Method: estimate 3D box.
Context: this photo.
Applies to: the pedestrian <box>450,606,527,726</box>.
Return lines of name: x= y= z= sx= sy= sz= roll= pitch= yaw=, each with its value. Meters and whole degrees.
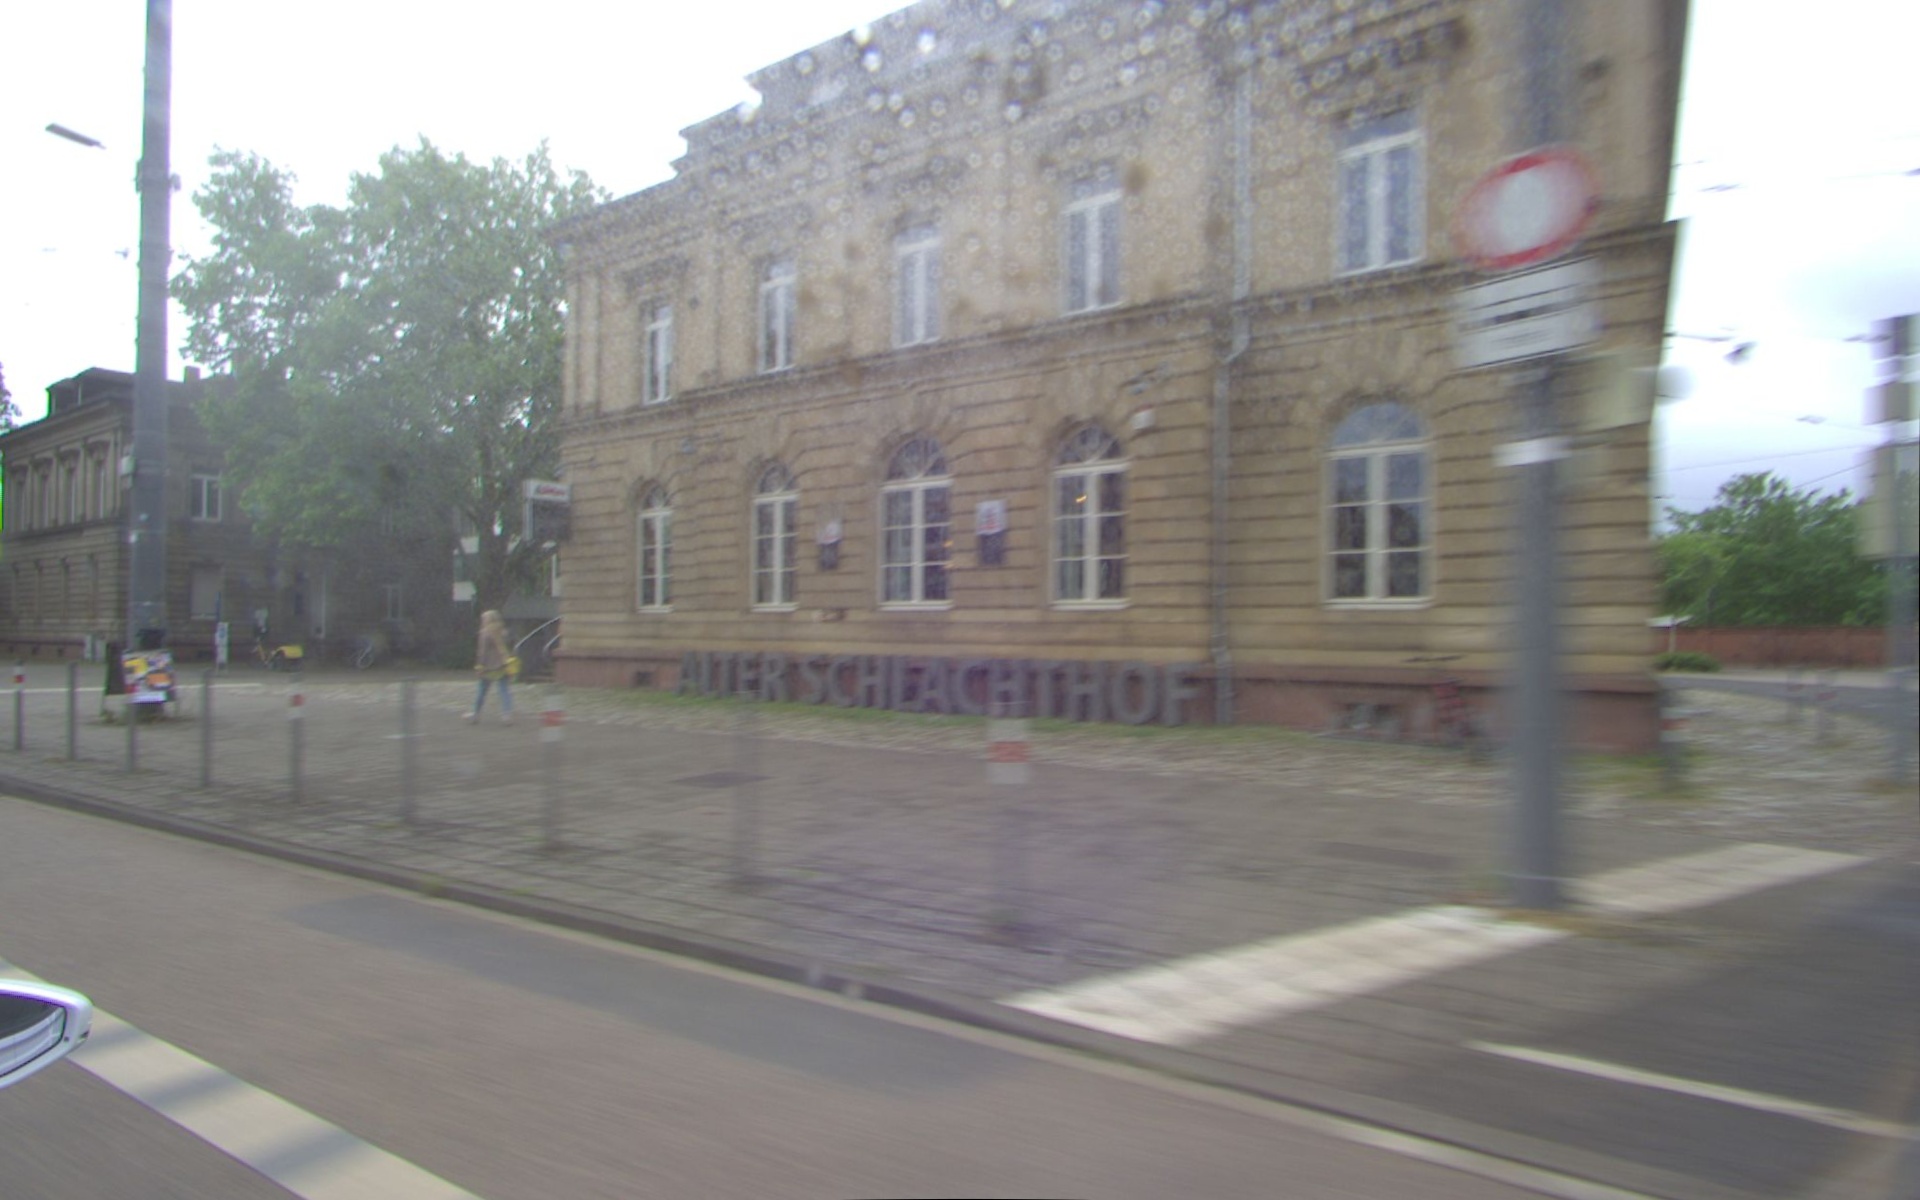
pedestrian: x=-6.939 y=0.952 z=14.727 sx=0.989 sy=1.699 sz=0.715 roll=-1 pitch=-2 yaw=44

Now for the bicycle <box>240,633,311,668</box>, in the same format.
bicycle: x=-25.271 y=1.855 z=36.943 sx=3.356 sy=1.082 sz=0.899 roll=2 pitch=0 yaw=33

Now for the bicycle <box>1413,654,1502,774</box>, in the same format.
bicycle: x=5.484 y=1.208 z=11.116 sx=0.537 sy=1.093 sz=1.854 roll=0 pitch=1 yaw=15

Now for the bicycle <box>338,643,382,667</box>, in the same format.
bicycle: x=-23.491 y=2.128 z=39.213 sx=2.052 sy=0.883 sz=0.608 roll=0 pitch=-2 yaw=32
